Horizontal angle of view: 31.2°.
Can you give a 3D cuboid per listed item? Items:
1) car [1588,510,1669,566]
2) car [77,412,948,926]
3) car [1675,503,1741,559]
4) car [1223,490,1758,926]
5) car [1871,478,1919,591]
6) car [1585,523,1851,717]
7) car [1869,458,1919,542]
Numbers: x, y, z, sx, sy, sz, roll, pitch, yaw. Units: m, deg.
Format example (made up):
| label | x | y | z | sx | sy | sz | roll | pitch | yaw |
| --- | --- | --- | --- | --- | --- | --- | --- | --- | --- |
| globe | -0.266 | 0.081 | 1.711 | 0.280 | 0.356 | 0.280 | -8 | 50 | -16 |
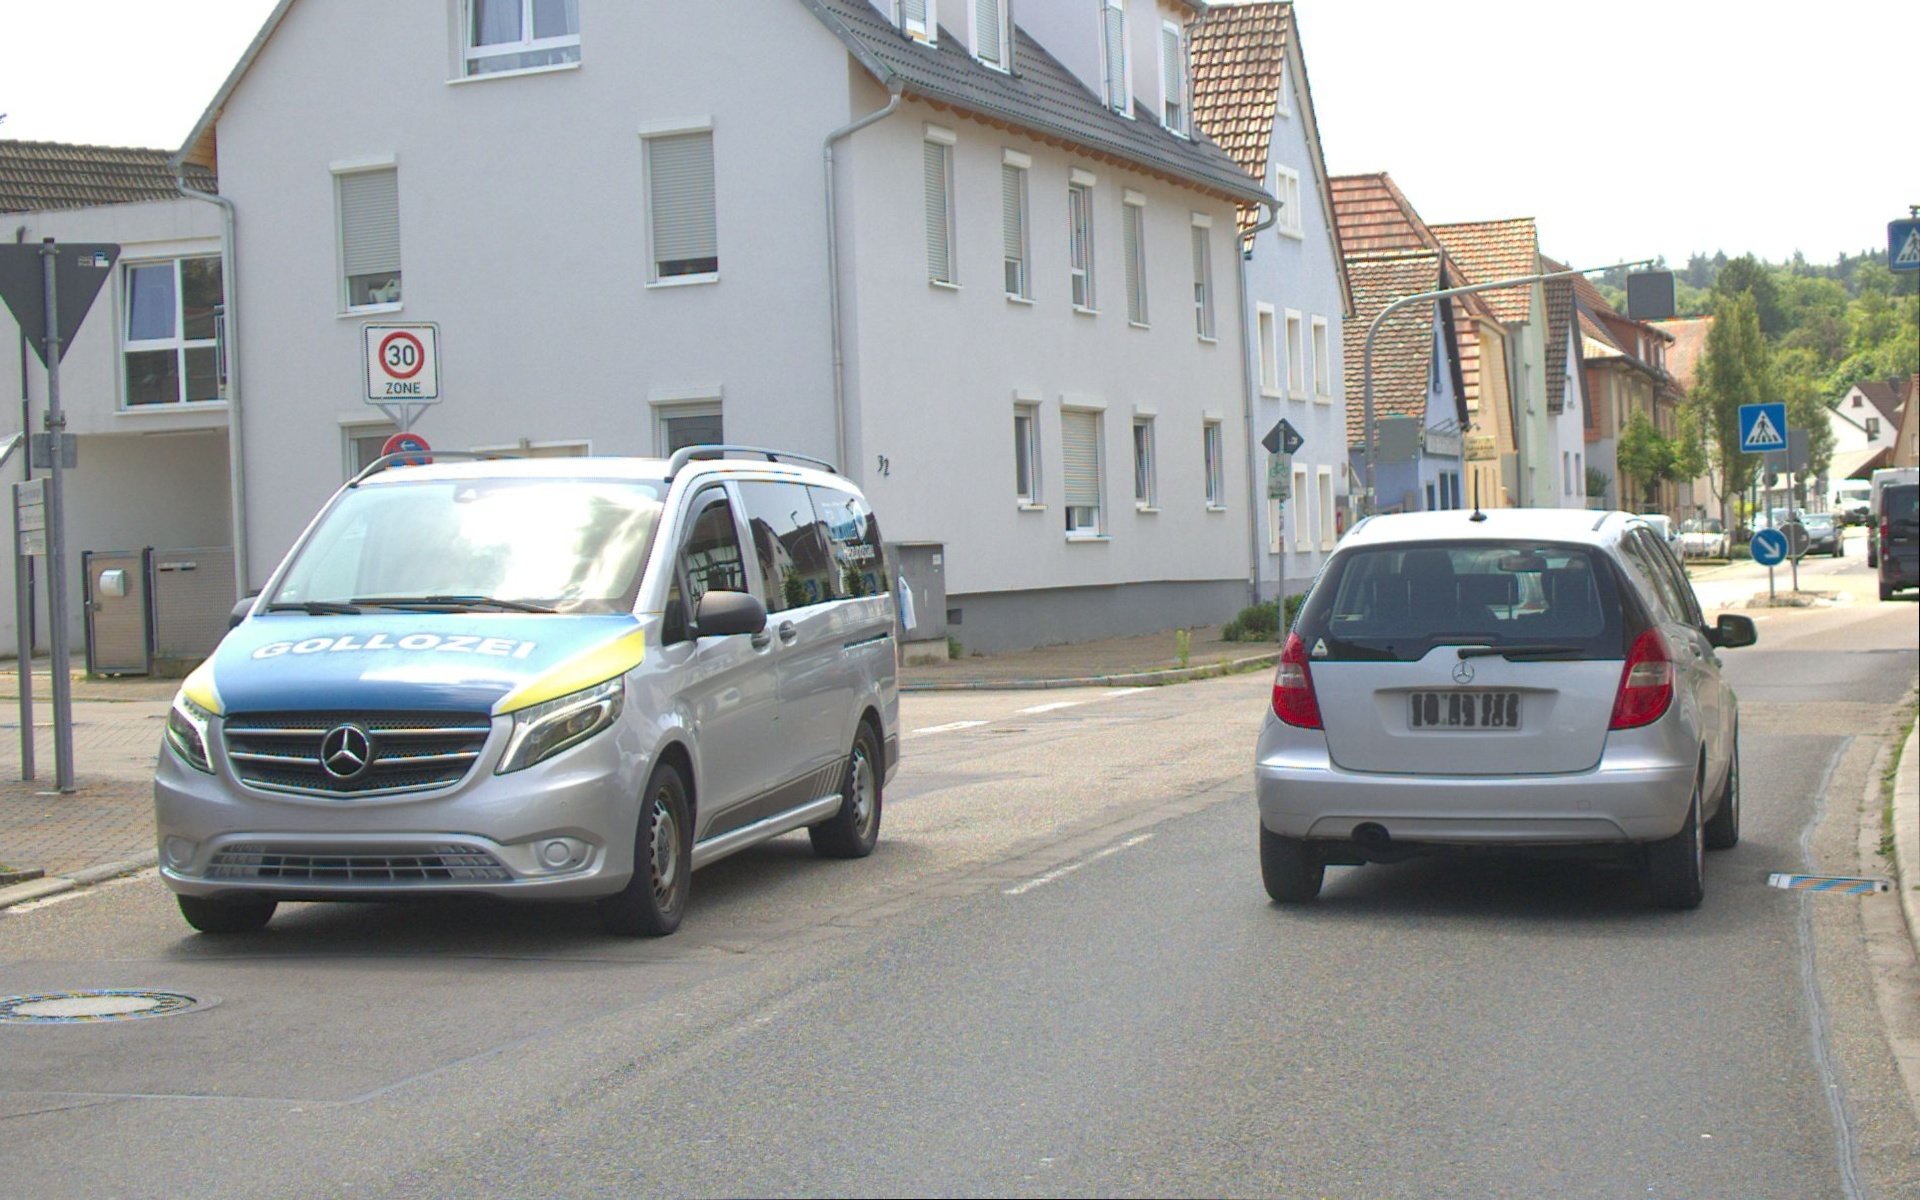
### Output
| label | x | y | z | sx | sy | sz | roll | pitch | yaw |
| --- | --- | --- | --- | --- | --- | --- | --- | --- | --- |
| car | 17.155 | -1.572 | 88.203 | 1.994 | 1.317 | 3.707 | -1 | -1 | 11 |
| car | -1.633 | 0.270 | 14.621 | 1.995 | 1.794 | 4.932 | -1 | -1 | 14 |
| car | 23.014 | -2.116 | 105.665 | 1.668 | 1.590 | 3.997 | -1 | -1 | 16 |
| car | 2.423 | 0.371 | 14.937 | 1.812 | 1.638 | 3.726 | 0 | 1 | 16 |
| car | 16.460 | -1.090 | 58.106 | 1.995 | 1.810 | 3.997 | -1 | -1 | 15 |
| car | 5.950 | 0.166 | 27.344 | 1.750 | 1.411 | 3.998 | -1 | -1 | 8 |
| car | 24.590 | -2.561 | 88.864 | 1.995 | 2.007 | 3.997 | -1 | -1 | 16 |
